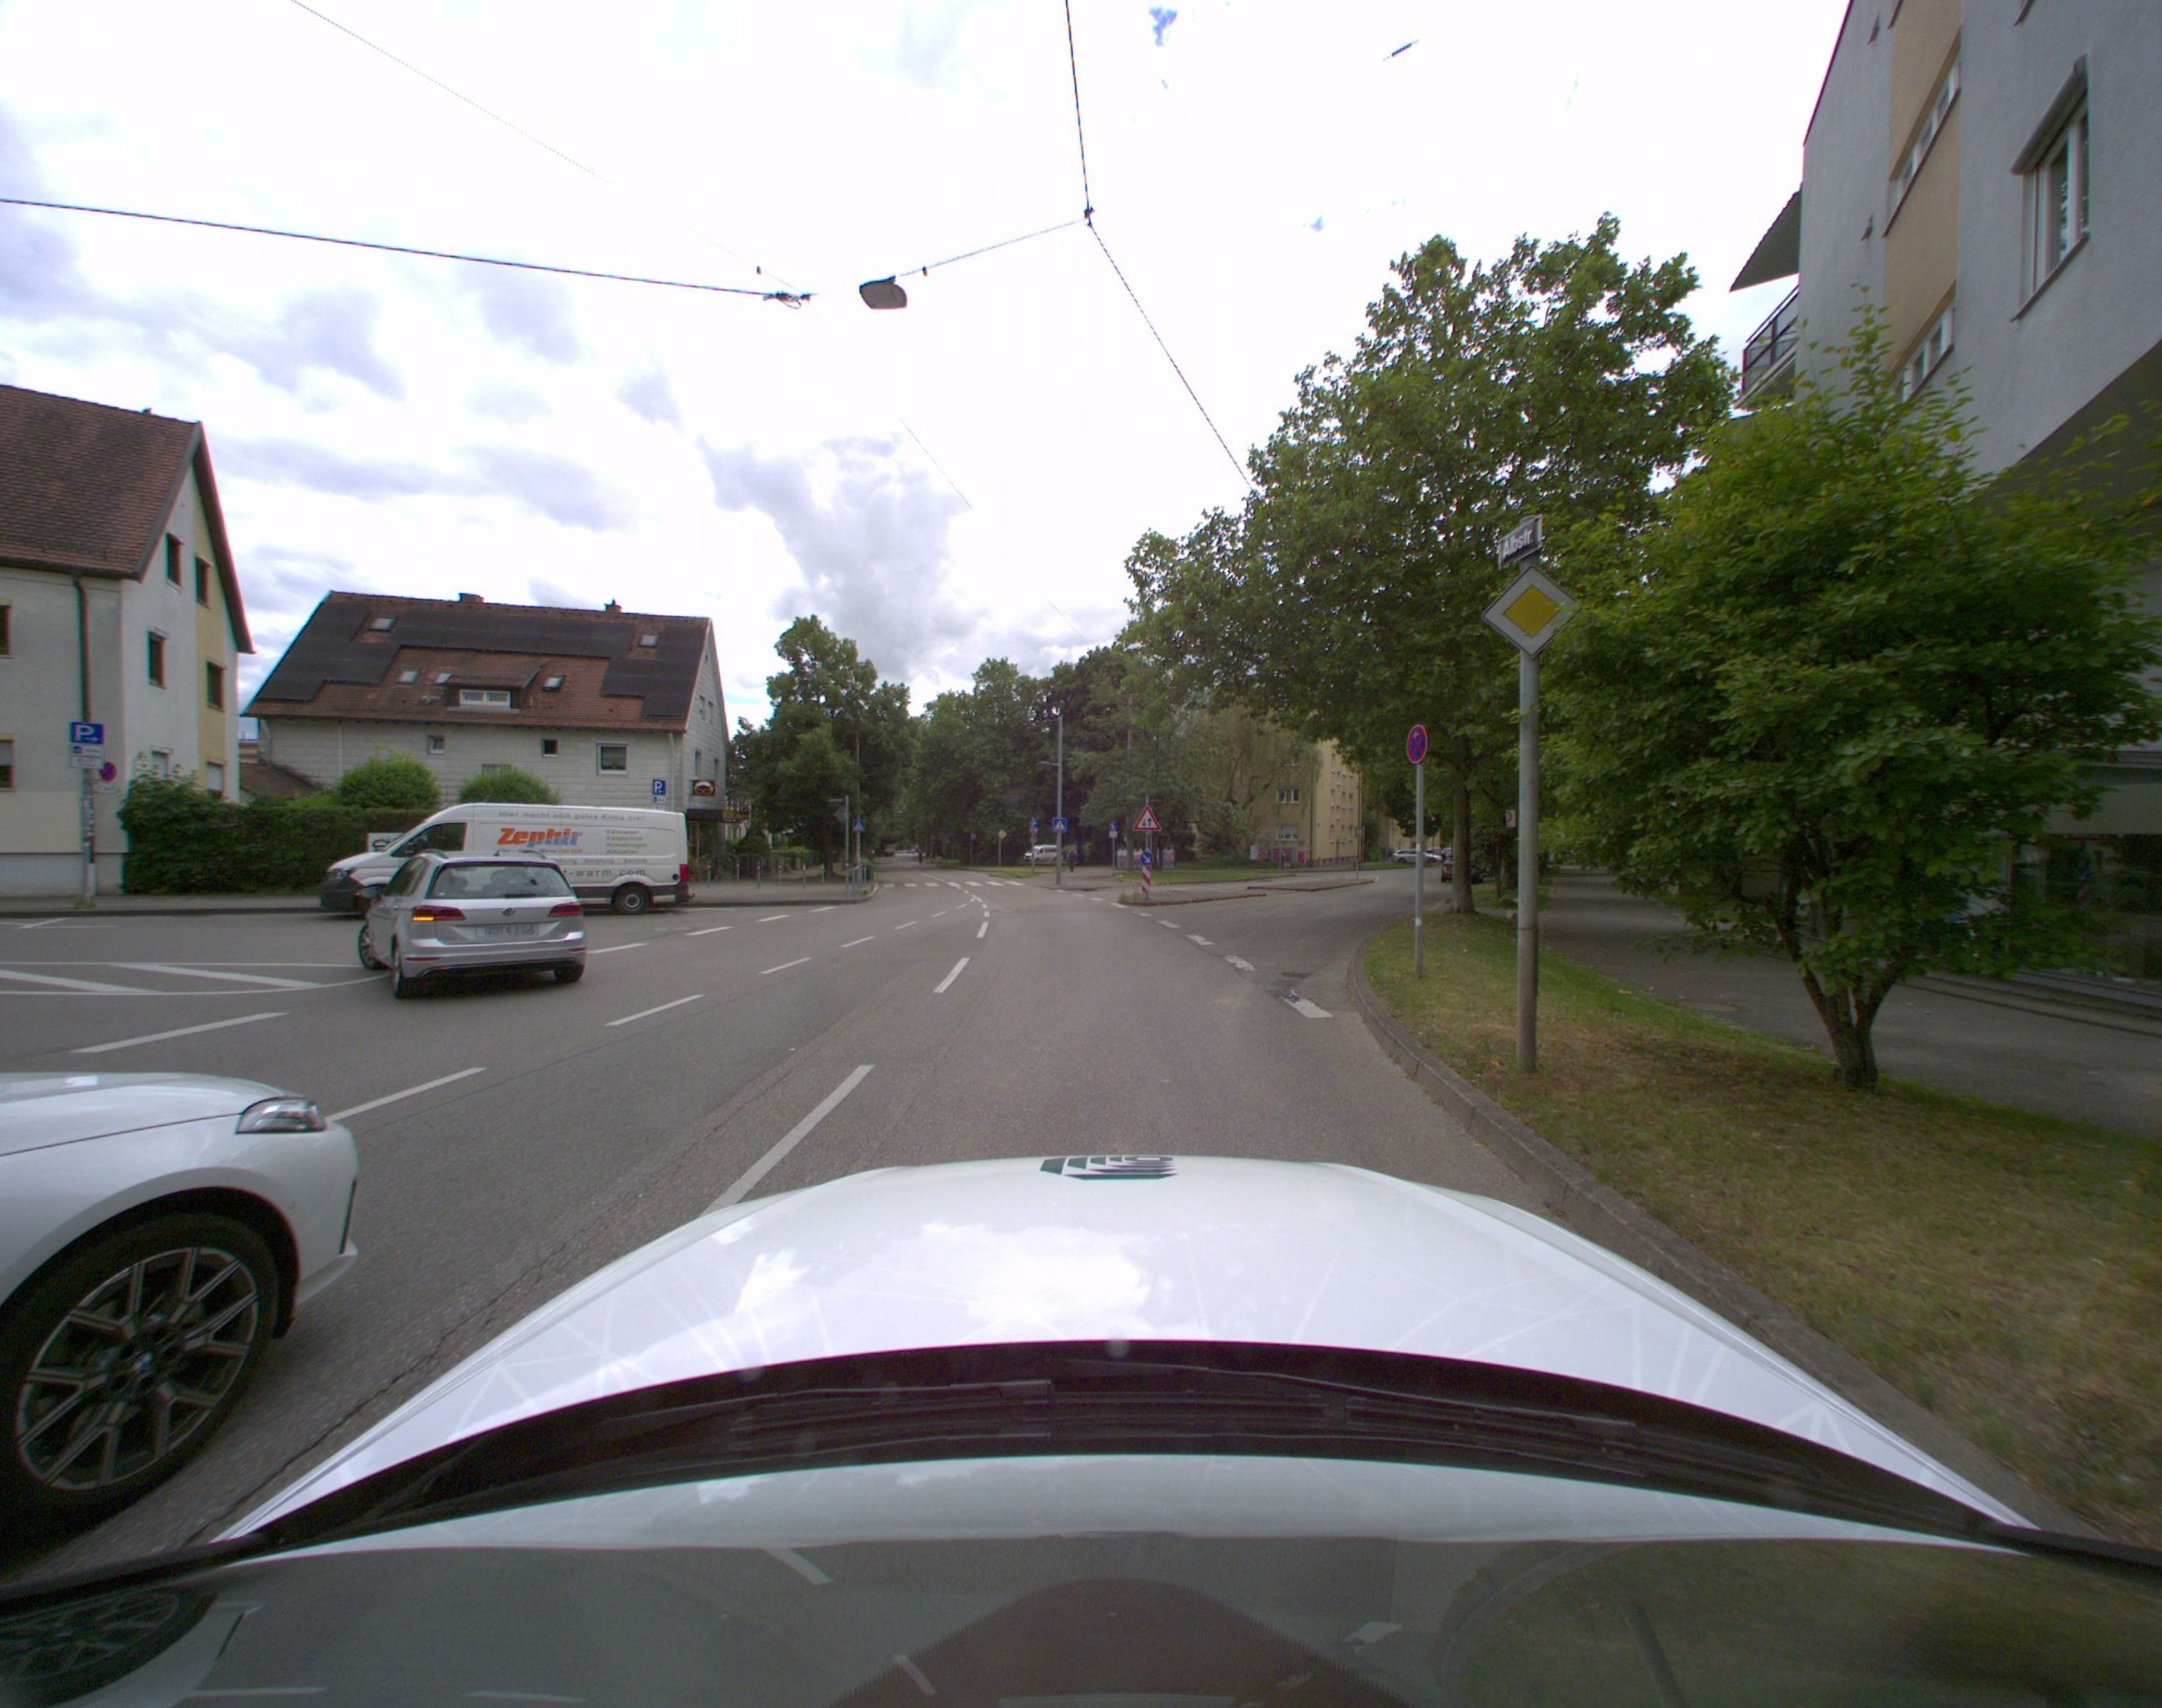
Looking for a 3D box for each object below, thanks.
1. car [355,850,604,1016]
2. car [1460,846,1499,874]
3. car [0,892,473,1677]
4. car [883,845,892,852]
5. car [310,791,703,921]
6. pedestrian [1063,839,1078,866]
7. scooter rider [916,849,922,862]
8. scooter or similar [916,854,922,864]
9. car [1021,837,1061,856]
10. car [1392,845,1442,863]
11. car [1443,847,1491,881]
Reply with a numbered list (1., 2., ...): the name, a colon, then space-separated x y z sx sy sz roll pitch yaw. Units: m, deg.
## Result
1. car: -7.591 0.775 10.133 1.940 1.574 3.951 0 1 -45
2. car: 25.305 0.365 51.667 1.761 1.597 4.275 3 1 31
3. car: -3.131 0.917 0.782 1.789 1.517 4.209 1 0 2
4. car: -47.181 -1.417 198.546 1.837 1.498 3.638 3 2 -15
5. car: -12.696 0.031 18.690 7.010 2.521 2.063 1 2 -36
6. pedestrian: -0.764 -0.099 59.048 0.921 1.871 1.018 -3 3 -2
7. scooter rider: -19.382 0.181 97.384 0.601 1.552 0.564 -1 2 -12
8. scooter or similar: -19.377 0.589 97.363 0.601 1.054 0.869 -1 2 -12
9. car: -5.354 -1.026 109.804 2.111 2.297 5.419 4 2 40
10. car: 31.976 -0.030 77.464 4.154 1.576 1.828 -2 -1 29
11. car: 19.886 0.482 41.897 1.857 1.568 4.044 4 2 30
